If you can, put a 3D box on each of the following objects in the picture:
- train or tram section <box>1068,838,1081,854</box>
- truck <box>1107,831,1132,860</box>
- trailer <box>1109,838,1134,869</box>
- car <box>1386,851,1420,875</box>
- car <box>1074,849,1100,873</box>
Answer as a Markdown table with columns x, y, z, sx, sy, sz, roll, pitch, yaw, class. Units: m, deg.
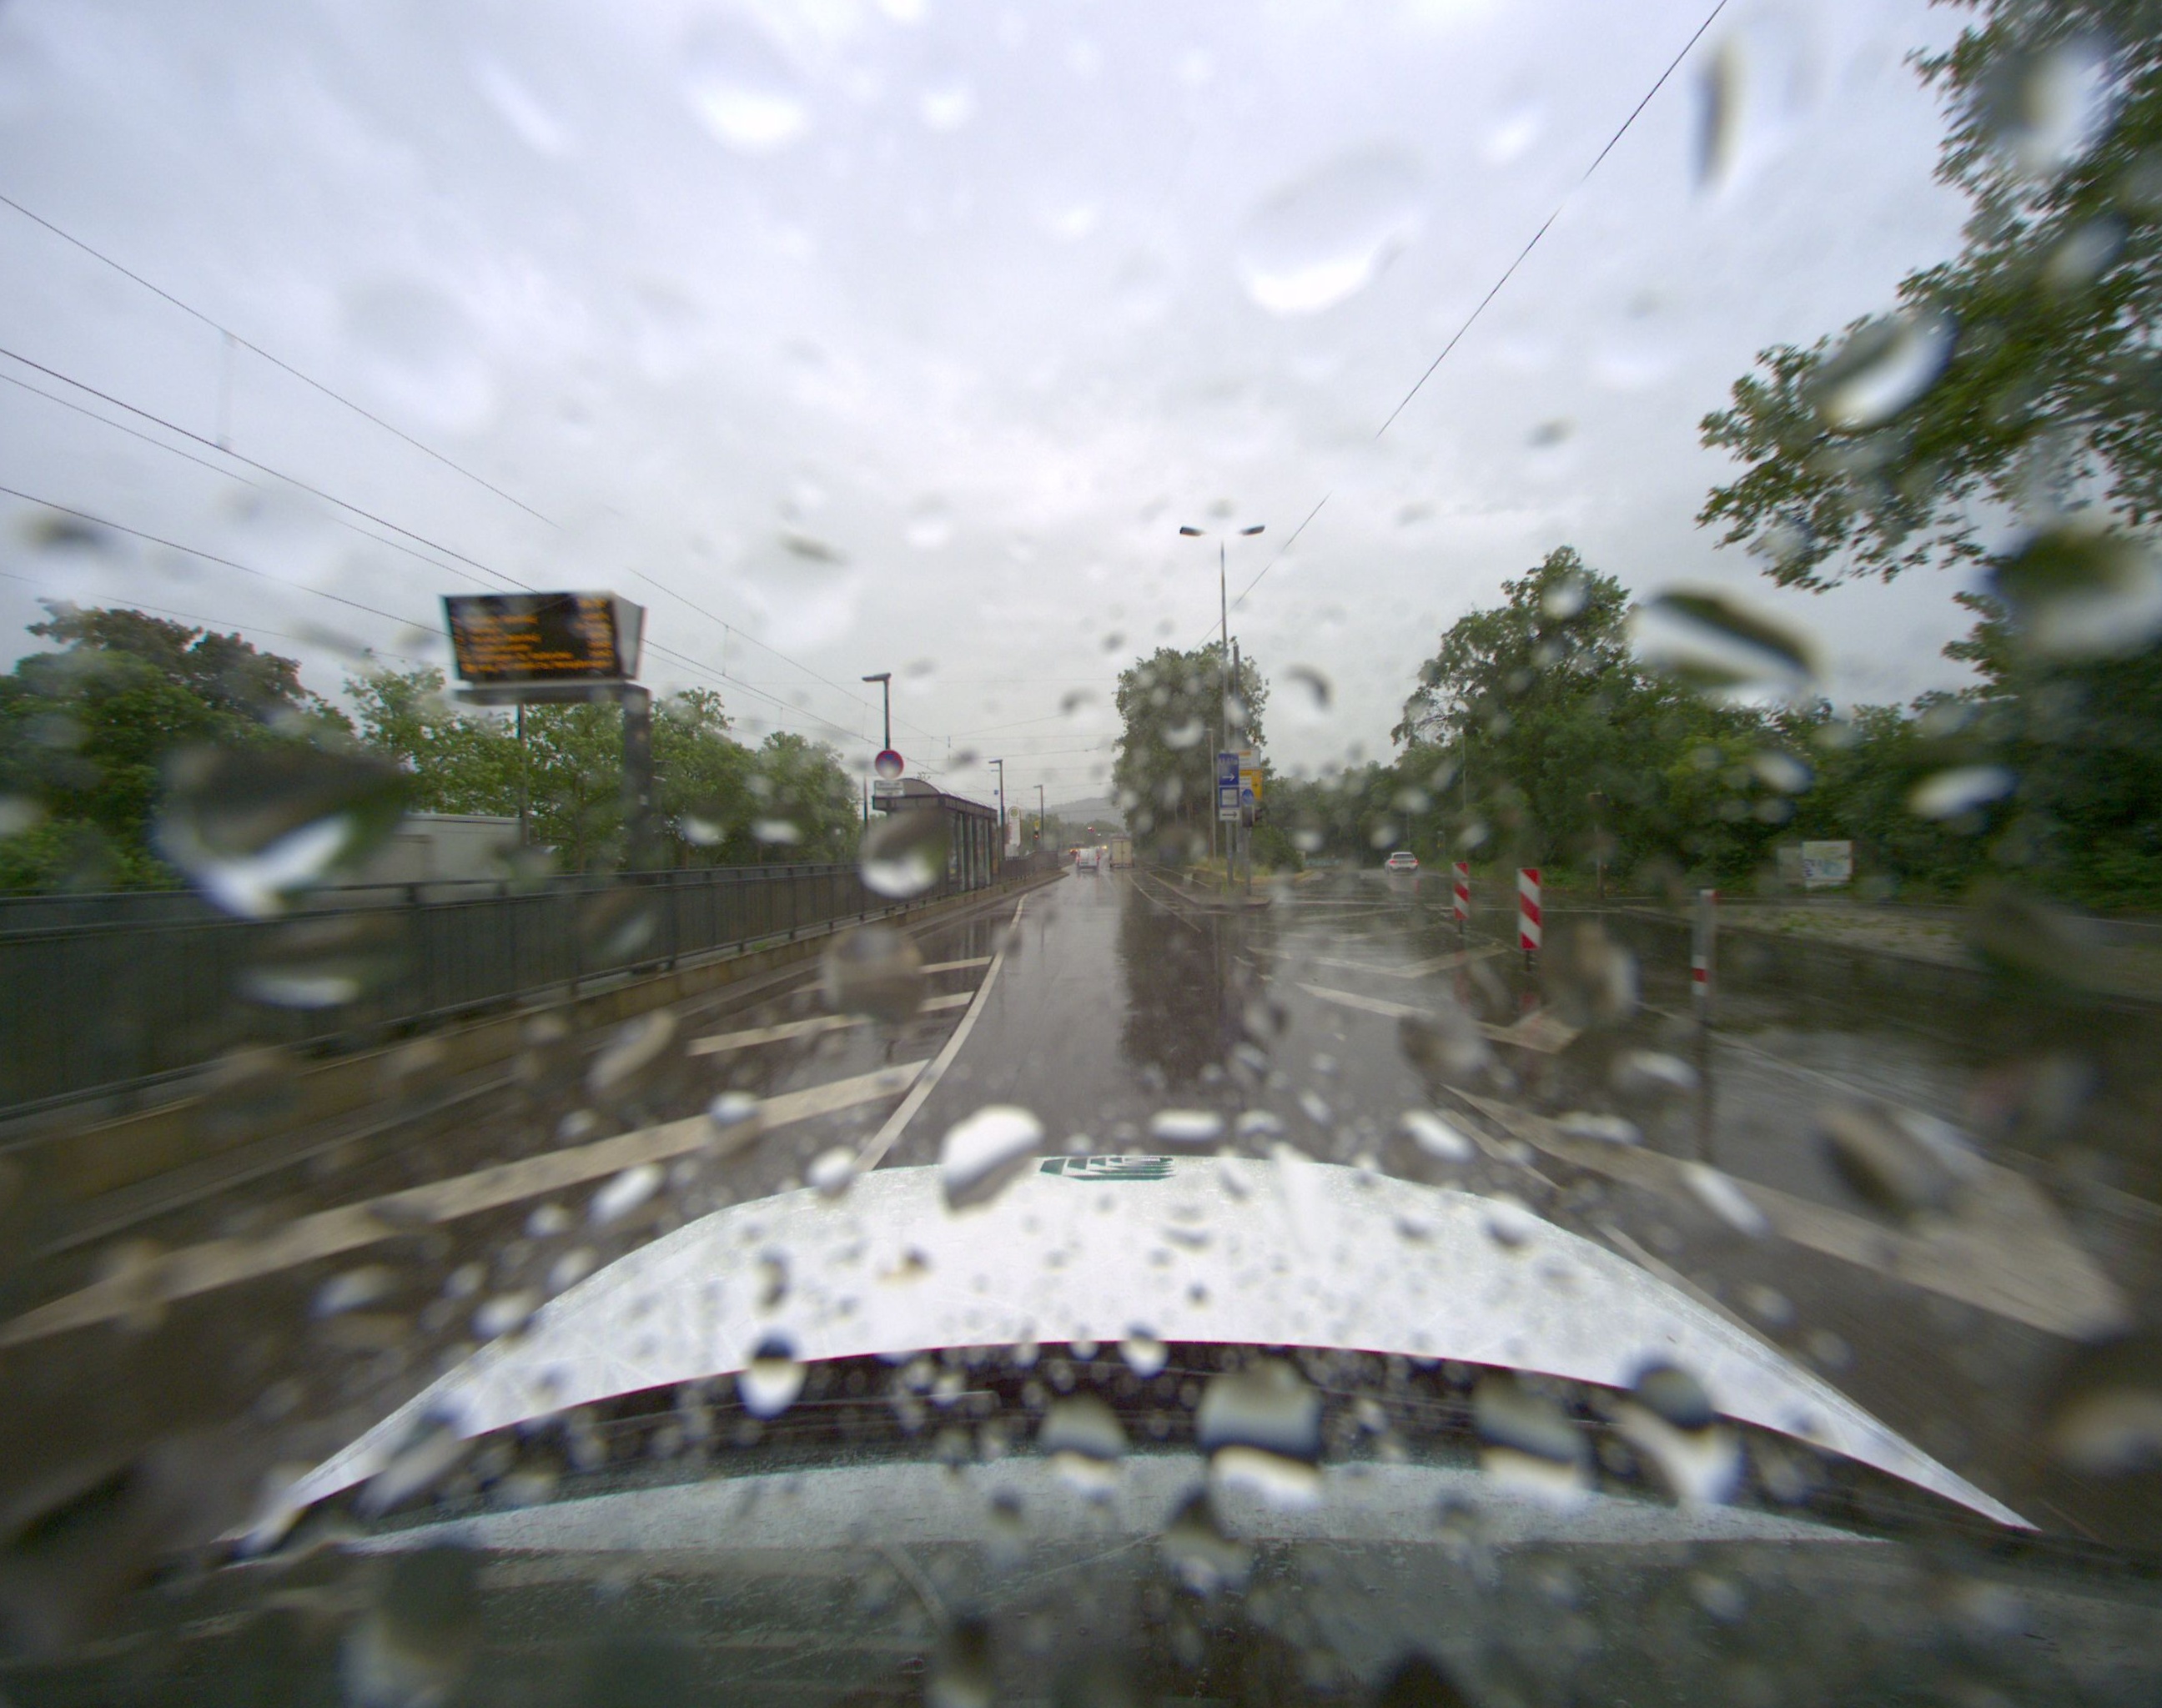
| x | y | z | sx | sy | sz | roll | pitch | yaw | class |
| --- | --- | --- | --- | --- | --- | --- | --- | --- | --- |
| -1.633 | -2.191 | 222.801 | 2.795 | 4.149 | 13.027 | -1 | 0 | 3 | train or tram section |
| 5.066 | -1.068 | 109.352 | 2.767 | 3.704 | 9.847 | -1 | -1 | -1 | truck |
| 3.936 | -0.017 | 78.195 | 2.156 | 2.757 | 5.683 | -1 | -1 | 5 | trailer |
| 20.478 | 0.530 | 51.874 | 1.872 | 1.431 | 4.020 | -1 | 0 | 20 | car |
| 0.480 | 0.527 | 66.542 | 1.988 | 1.849 | 3.998 | -1 | 0 | -1 | car |
